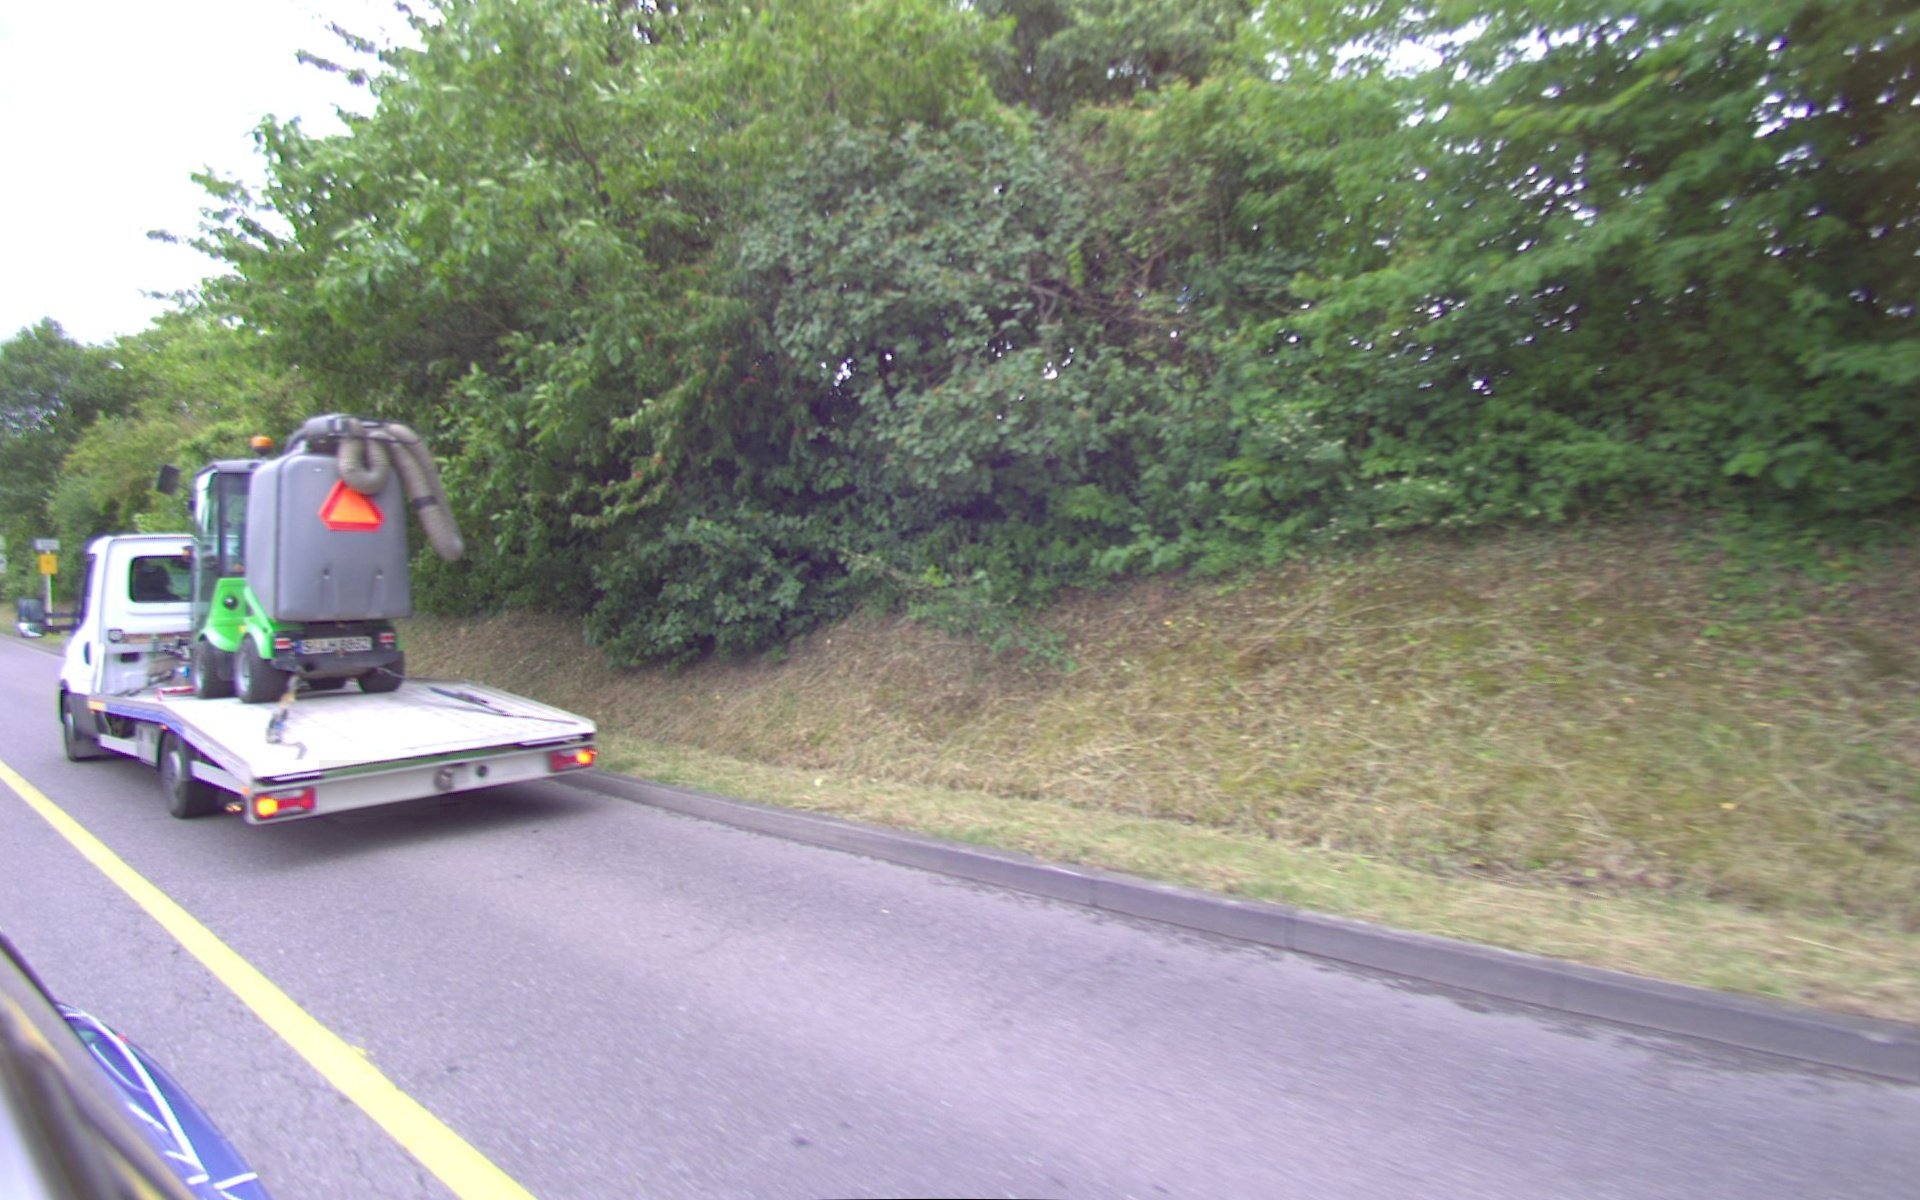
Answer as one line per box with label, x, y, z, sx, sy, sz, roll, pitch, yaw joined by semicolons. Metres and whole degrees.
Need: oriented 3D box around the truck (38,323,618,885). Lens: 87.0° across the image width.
truck;-6.035;0.070;8.862;7.736;3.037;2.192;-1;-1;41
